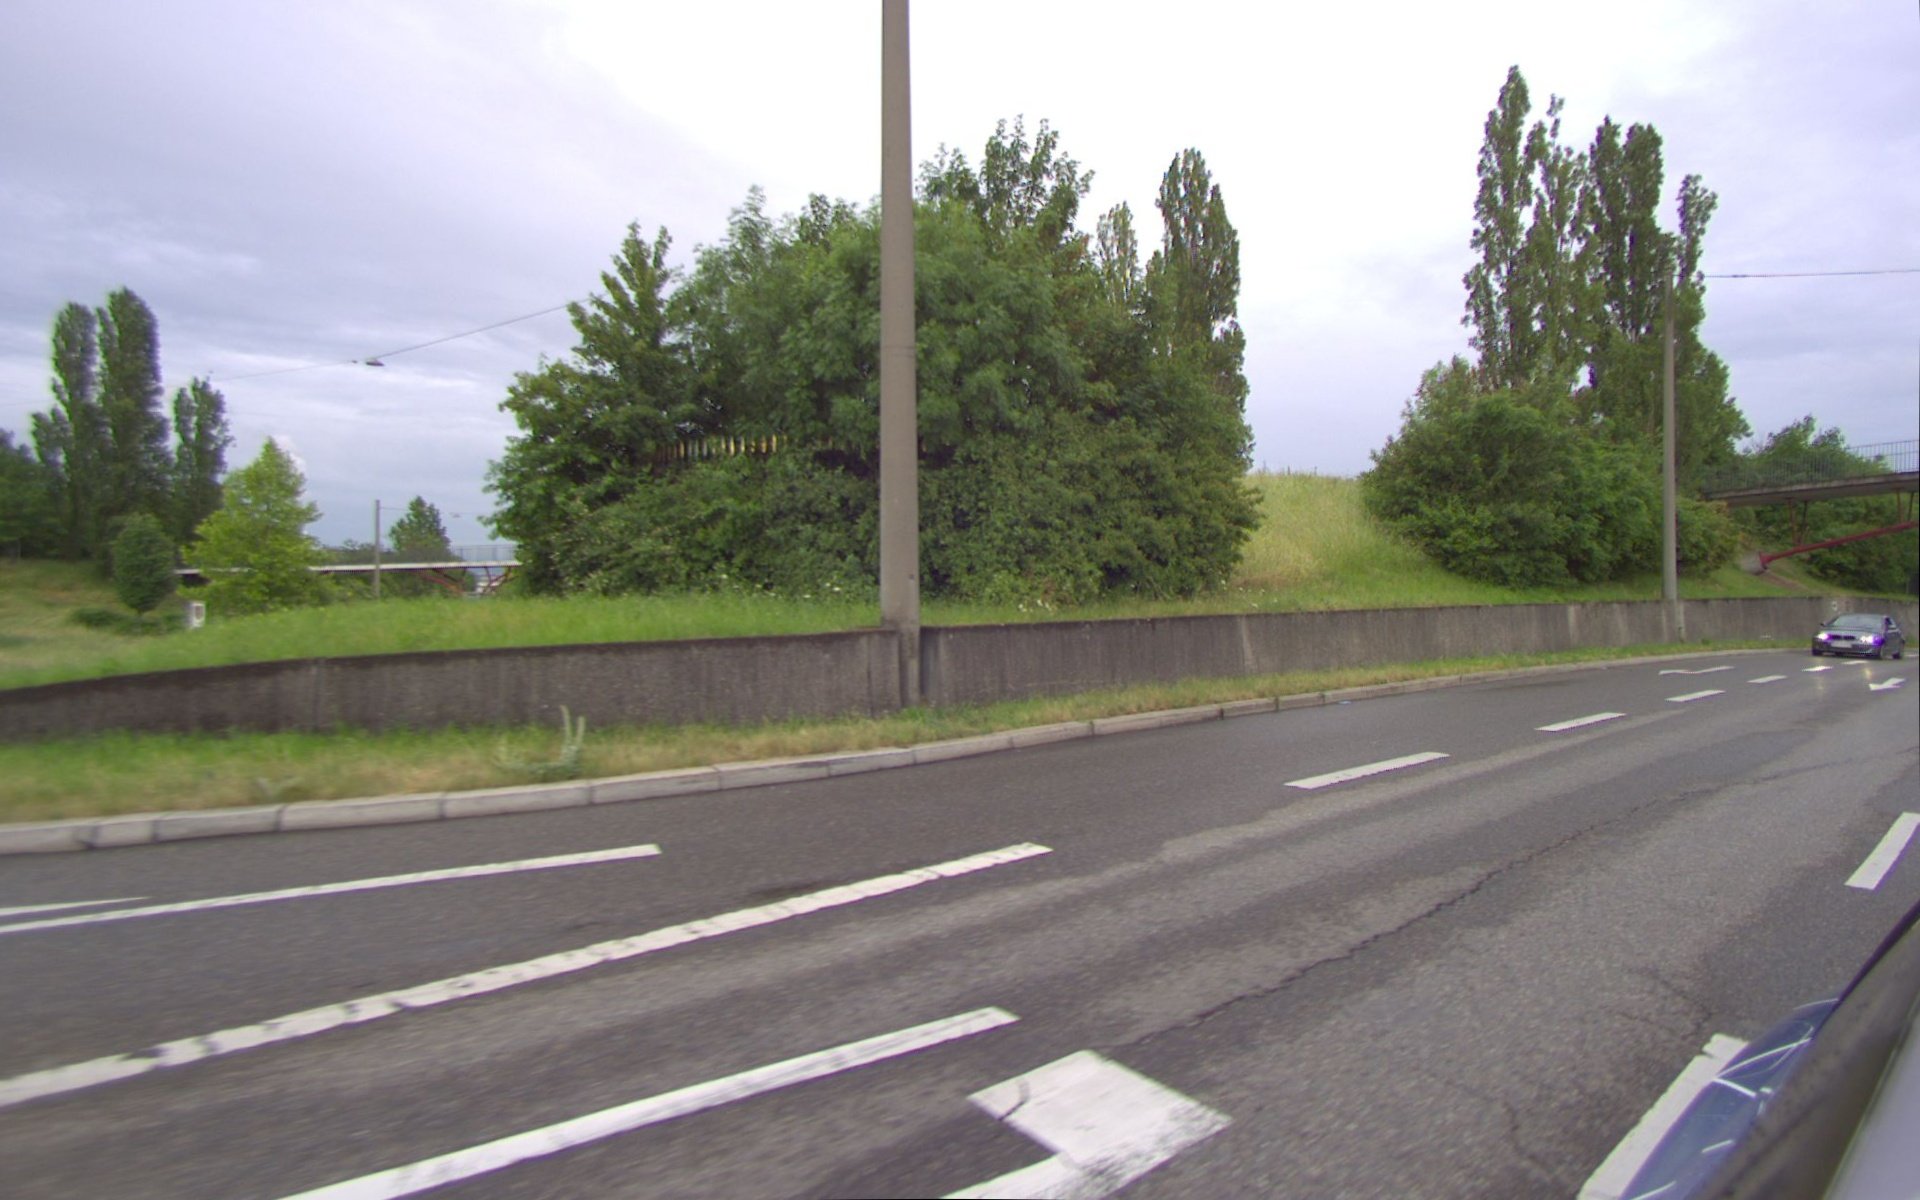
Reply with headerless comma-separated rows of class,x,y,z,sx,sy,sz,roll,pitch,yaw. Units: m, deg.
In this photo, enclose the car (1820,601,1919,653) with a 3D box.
car,28.984,0.841,32.185,3.927,1.529,1.809,1,0,-39
